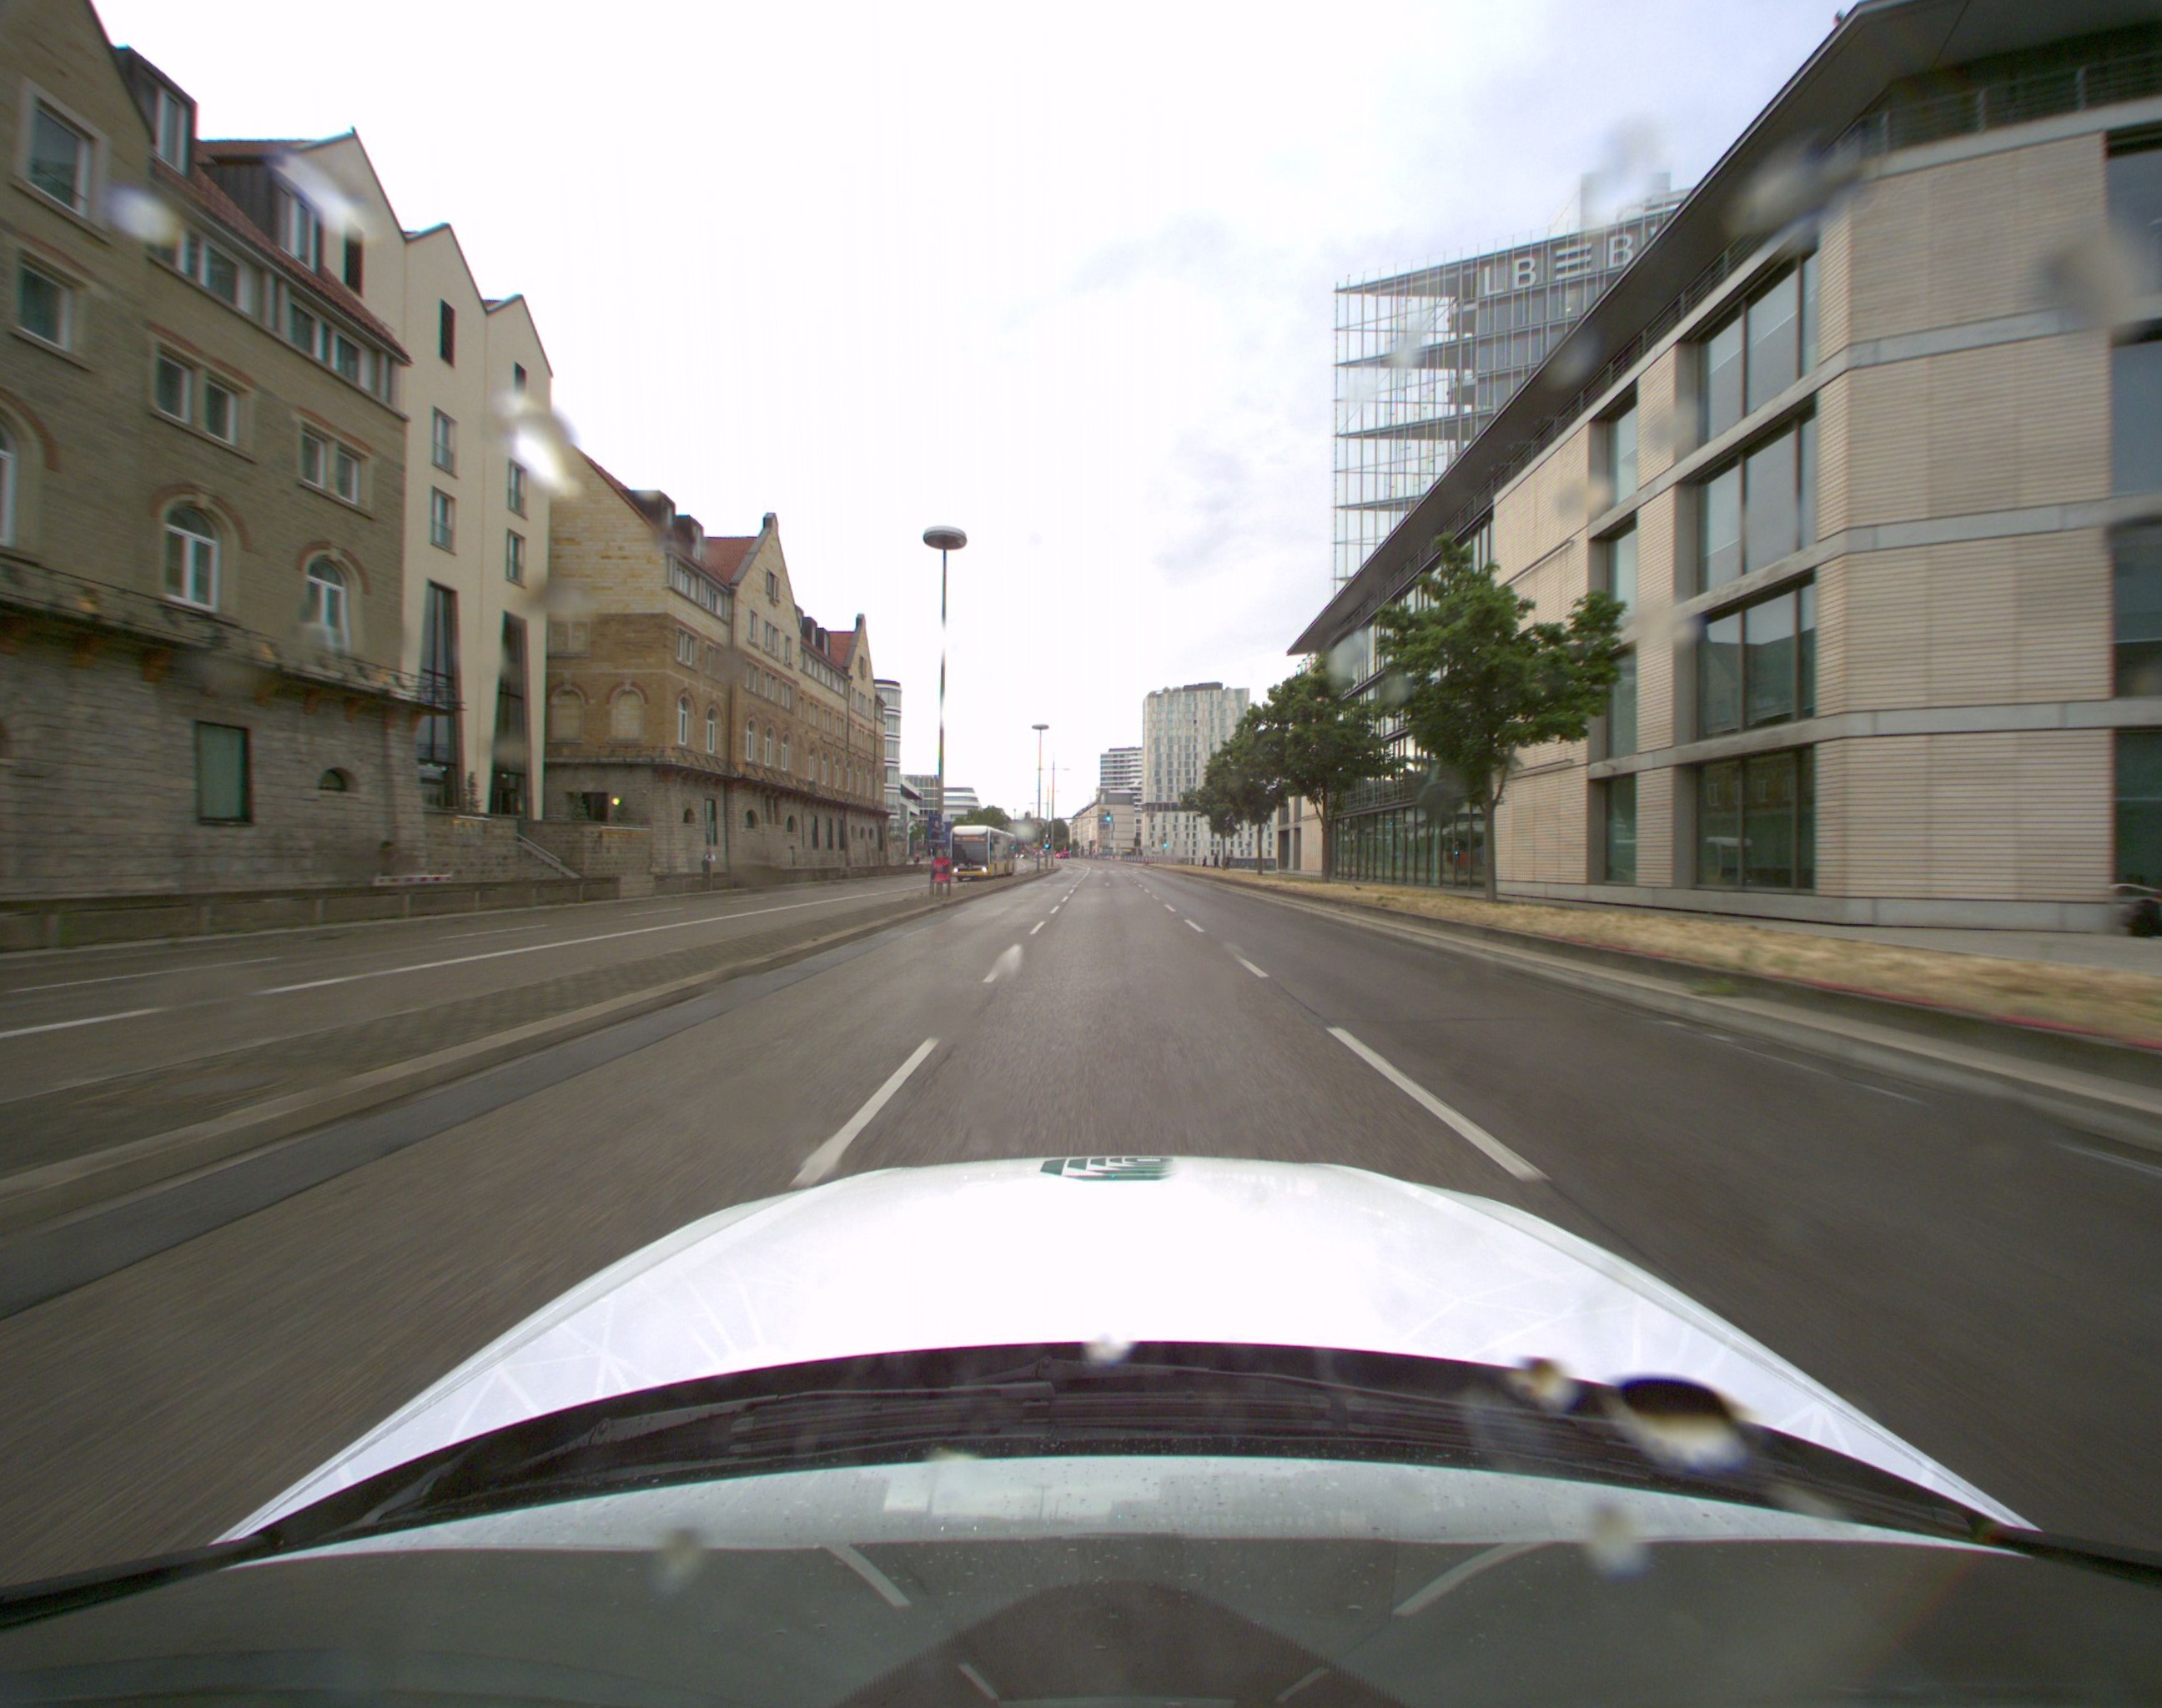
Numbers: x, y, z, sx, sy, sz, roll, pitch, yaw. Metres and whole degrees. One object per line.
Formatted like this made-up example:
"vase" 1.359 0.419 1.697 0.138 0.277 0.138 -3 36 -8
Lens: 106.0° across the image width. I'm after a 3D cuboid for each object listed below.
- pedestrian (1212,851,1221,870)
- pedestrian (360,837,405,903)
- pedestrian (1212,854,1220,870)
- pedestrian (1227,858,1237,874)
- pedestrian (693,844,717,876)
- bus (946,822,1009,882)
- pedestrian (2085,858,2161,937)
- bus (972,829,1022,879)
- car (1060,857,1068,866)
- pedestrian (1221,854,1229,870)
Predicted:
"pedestrian" 13.863 0.655 83.368 0.787 1.841 0.544 -2 1 -43
"pedestrian" -18.811 0.425 21.944 0.641 1.745 0.618 -1 1 -14
"pedestrian" 13.809 0.801 83.358 0.544 1.578 0.675 0 1 35
"pedestrian" 15.135 1.209 81.696 0.662 1.578 0.673 0 1 39
"pedestrian" -17.997 0.280 38.978 0.751 1.477 0.714 -1 1 0
"bus" -6.675 -0.109 54.244 2.689 3.559 10.094 -1 0 1
"pedestrian" 18.631 0.749 14.305 0.868 1.340 0.974 -1 -1 19
"bus" -6.551 -0.020 64.638 2.689 3.559 10.095 -1 0 1
"car" -5.259 2.404 254.247 1.987 2.342 4.000 -9 0 0
"pedestrian" 14.355 0.776 81.160 0.544 1.578 0.675 0 1 35
